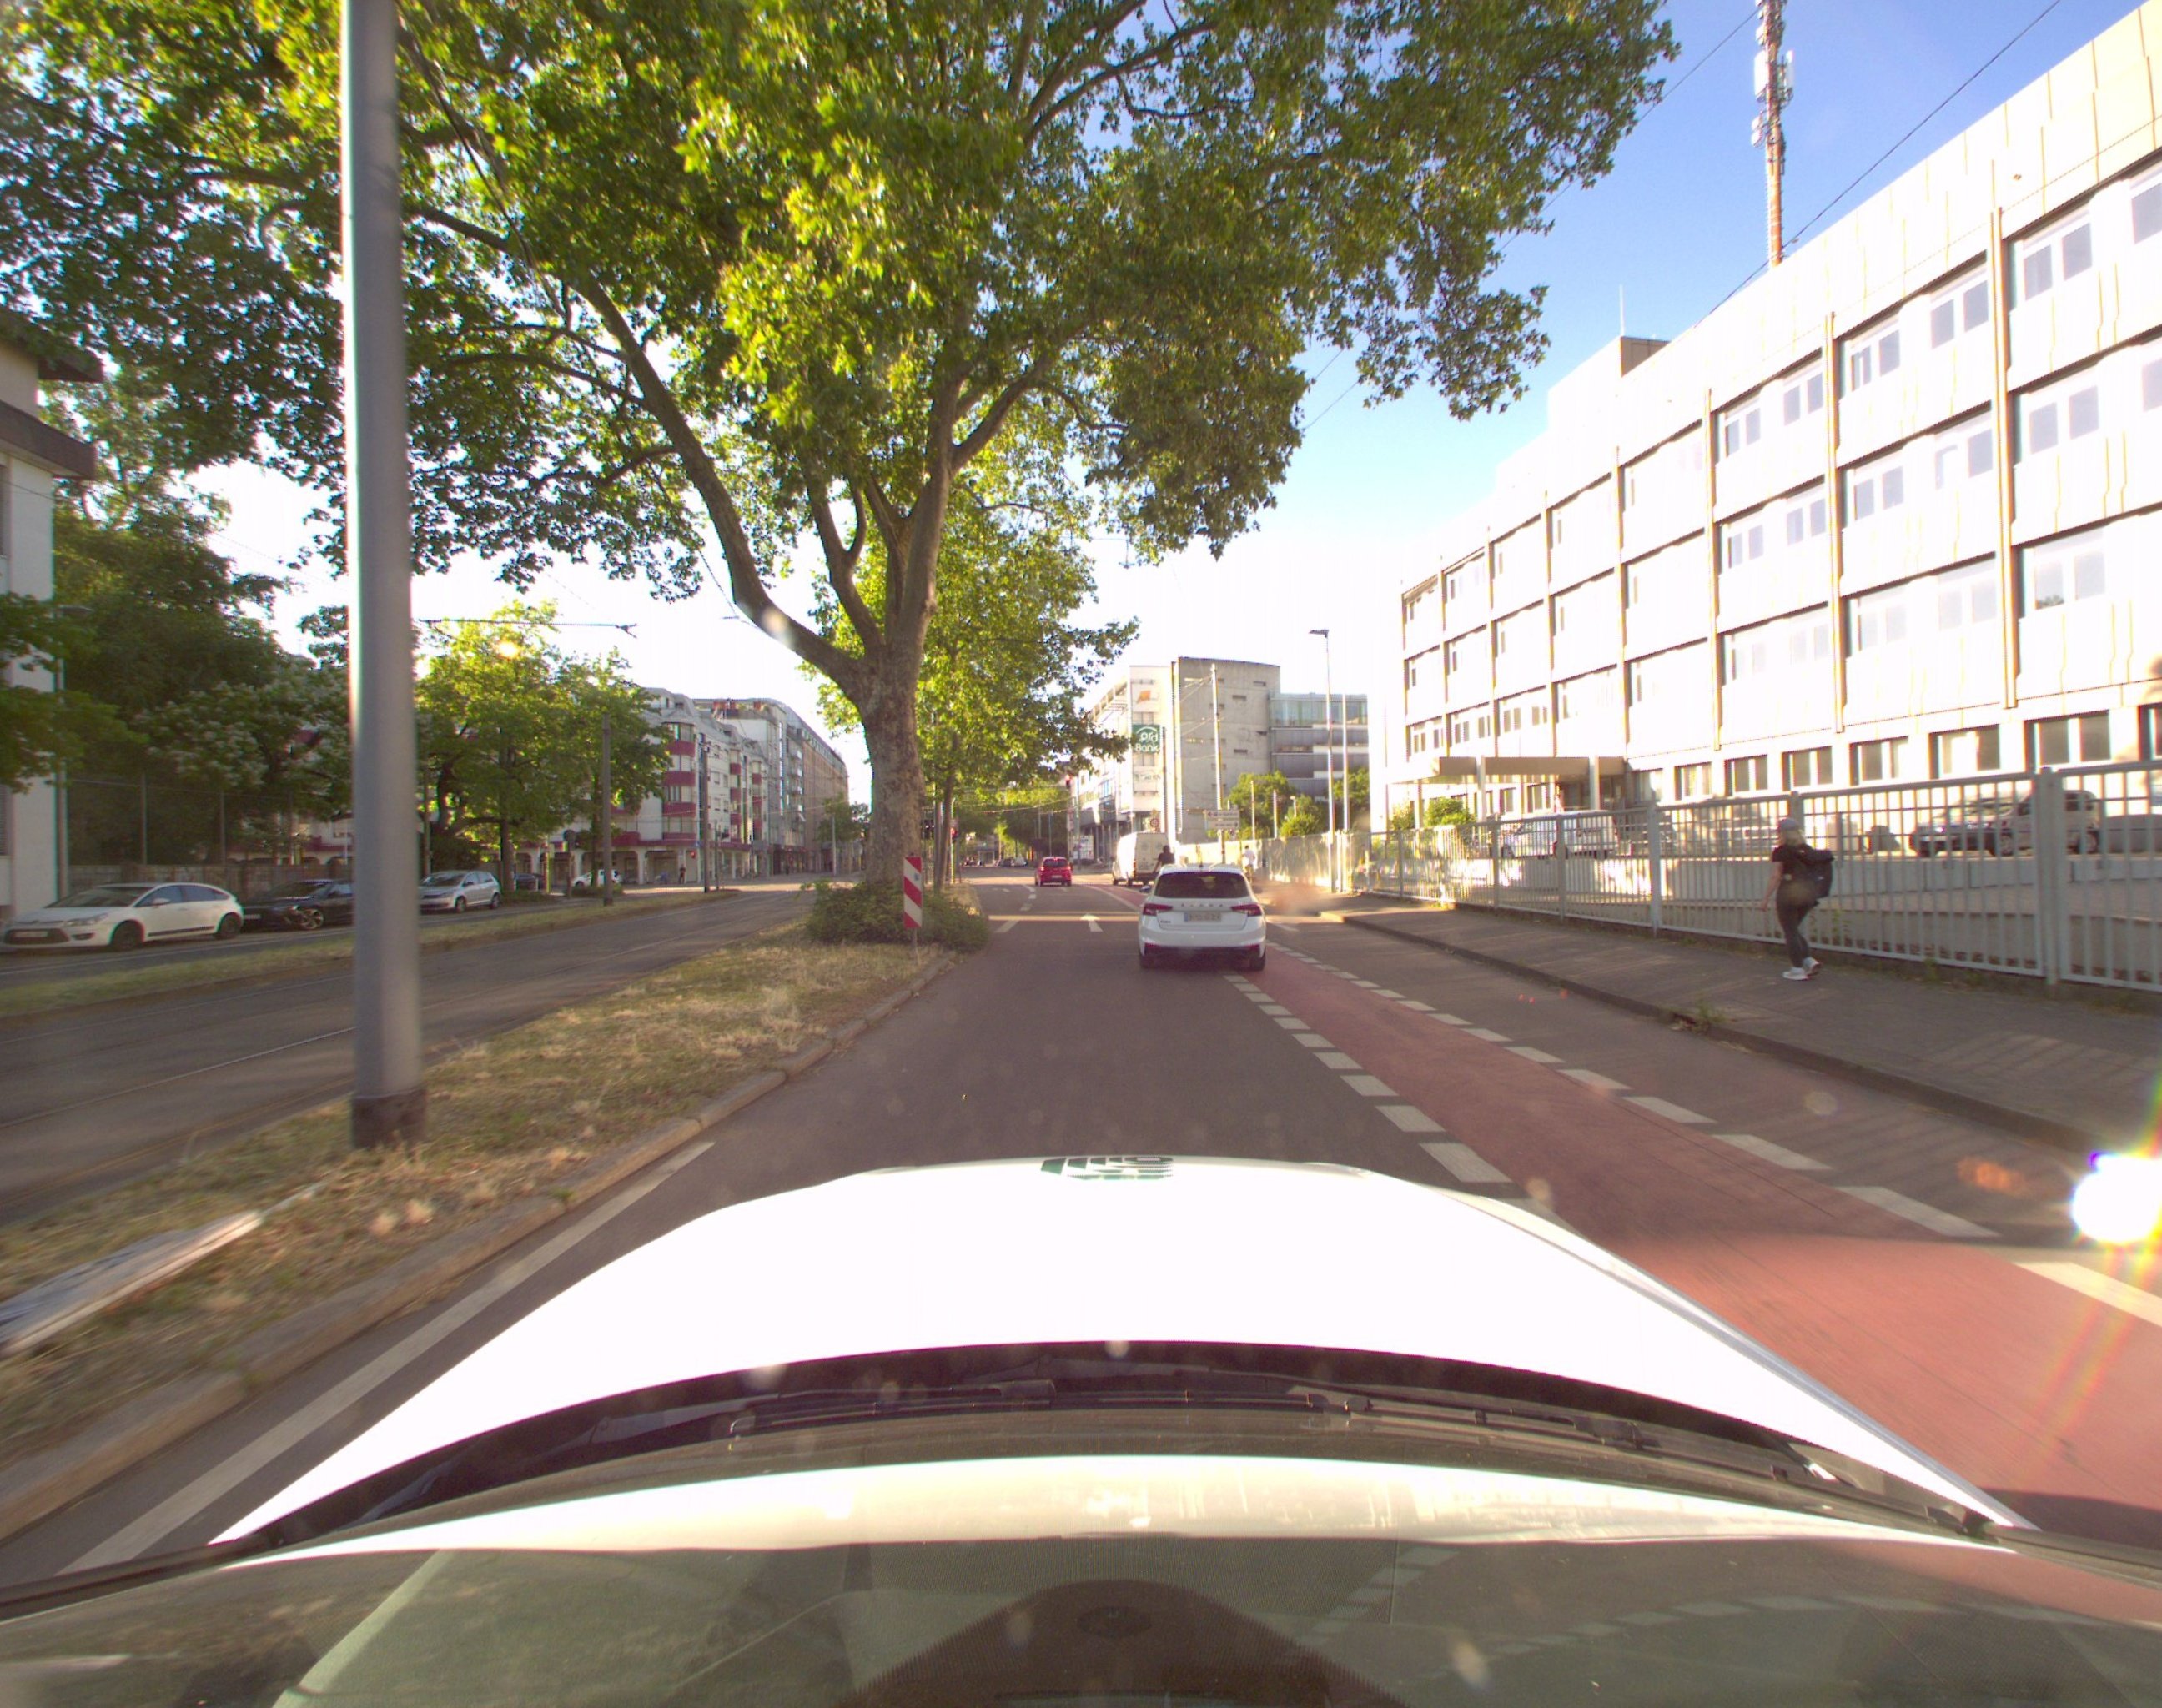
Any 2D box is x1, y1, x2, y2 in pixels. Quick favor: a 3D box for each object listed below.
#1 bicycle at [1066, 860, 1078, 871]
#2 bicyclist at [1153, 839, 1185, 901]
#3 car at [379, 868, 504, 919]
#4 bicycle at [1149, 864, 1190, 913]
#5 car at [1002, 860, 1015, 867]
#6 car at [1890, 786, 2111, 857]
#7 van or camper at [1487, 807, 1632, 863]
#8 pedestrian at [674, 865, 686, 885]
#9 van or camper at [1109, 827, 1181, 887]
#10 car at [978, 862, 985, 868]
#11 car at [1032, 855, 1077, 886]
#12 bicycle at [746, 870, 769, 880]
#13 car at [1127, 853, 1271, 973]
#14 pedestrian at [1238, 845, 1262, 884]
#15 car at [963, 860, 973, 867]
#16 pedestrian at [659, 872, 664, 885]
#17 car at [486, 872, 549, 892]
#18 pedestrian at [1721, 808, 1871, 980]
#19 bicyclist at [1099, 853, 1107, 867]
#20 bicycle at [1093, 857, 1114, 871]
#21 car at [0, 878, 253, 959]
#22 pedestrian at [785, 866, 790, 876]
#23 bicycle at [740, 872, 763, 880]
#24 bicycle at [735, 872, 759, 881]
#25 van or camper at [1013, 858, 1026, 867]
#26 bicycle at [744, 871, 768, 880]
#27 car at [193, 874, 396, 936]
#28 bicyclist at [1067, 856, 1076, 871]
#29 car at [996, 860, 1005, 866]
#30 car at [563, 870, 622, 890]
[{"bbox_3d":[-1.003,1.252,88.560,0.793,1.161,2.490,-1,0,-11],"label":"bicycle"},{"bbox_3d":[2.394,0.432,22.180,0.742,1.669,0.743,0,0,-5],"label":"bicyclist"},{"bbox_3d":[-24.066,1.428,30.884,1.994,1.689,4.162,-2,0,-11],"label":"car"},{"bbox_3d":[2.393,0.905,22.215,0.742,1.224,2.153,0,0,-4],"label":"bicycle"},{"bbox_3d":[-16.256,2.088,182.316,2.479,1.528,4.415,-2,0,-10],"label":"car"},{"bbox_3d":[24.583,-0.847,21.841,4.252,1.718,1.987,-2,0,-10],"label":"car"},{"bbox_3d":[18.065,-0.673,31.094,1.980,1.909,4.983,-2,0,-10],"label":"van or camper"},{"bbox_3d":[-35.013,1.830,71.136,0.709,1.662,1.029,-2,0,-13],"label":"pedestrian"},{"bbox_3d":[3.063,0.157,40.643,2.267,2.734,6.330,1,0,-7],"label":"van or camper"},{"bbox_3d":[-25.289,2.819,207.557,1.657,1.607,3.519,-2,0,-10],"label":"car"},{"bbox_3d":[-1.387,0.816,41.666,1.839,1.489,3.705,-2,0,-9],"label":"car"},{"bbox_3d":[-33.943,2.203,85.368,2.171,0.951,0.490,-2,0,-13],"label":"bicycle"},{"bbox_3d":[1.817,0.761,12.313,1.791,1.501,3.992,-1,0,9],"label":"car"},{"bbox_3d":[7.710,0.470,37.149,0.785,1.748,0.770,-2,0,-7],"label":"pedestrian"},{"bbox_3d":[-28.390,2.448,204.536,2.060,1.654,3.476,-2,0,-14],"label":"car"},{"bbox_3d":[-37.203,2.170,72.256,0.304,1.214,0.317,-2,0,-14],"label":"pedestrian"},{"bbox_3d":[-46.814,2.328,67.743,4.002,1.464,1.789,-2,0,-21],"label":"car"},{"bbox_3d":[7.460,0.397,8.540,0.694,1.684,0.929,-2,0,-4],"label":"pedestrian"},{"bbox_3d":[2.220,0.648,82.479,0.607,1.389,0.631,-2,0,-22],"label":"bicyclist"},{"bbox_3d":[2.234,0.999,82.480,1.995,1.379,0.642,-2,0,-22],"label":"bicycle"},{"bbox_3d":[-21.747,1.367,18.461,1.994,1.471,4.389,-2,0,-11],"label":"car"},{"bbox_3d":[-41.256,2.411,114.477,0.510,1.459,0.526,-2,0,-9],"label":"pedestrian"},{"bbox_3d":[-33.731,2.259,83.381,2.171,0.787,0.490,-2,0,-13],"label":"bicycle"},{"bbox_3d":[-33.867,2.268,82.588,2.171,0.787,0.638,-2,0,-13],"label":"bicycle"},{"bbox_3d":[-12.639,1.668,166.583,2.147,1.750,4.413,-2,0,-12],"label":"van or camper"},{"bbox_3d":[-33.799,2.250,84.741,2.171,0.824,0.525,-2,0,-13],"label":"bicycle"},{"bbox_3d":[-22.629,1.387,23.750,1.994,1.476,4.632,-2,0,-11],"label":"car"},{"bbox_3d":[-1.033,1.001,88.612,0.785,1.635,0.636,-1,0,-11],"label":"bicyclist"},{"bbox_3d":[-20.072,2.184,202.814,1.886,1.528,4.414,-2,0,-12],"label":"car"},{"bbox_3d":[-41.762,2.208,69.674,4.002,1.464,1.789,-2,0,-21],"label":"car"}]
